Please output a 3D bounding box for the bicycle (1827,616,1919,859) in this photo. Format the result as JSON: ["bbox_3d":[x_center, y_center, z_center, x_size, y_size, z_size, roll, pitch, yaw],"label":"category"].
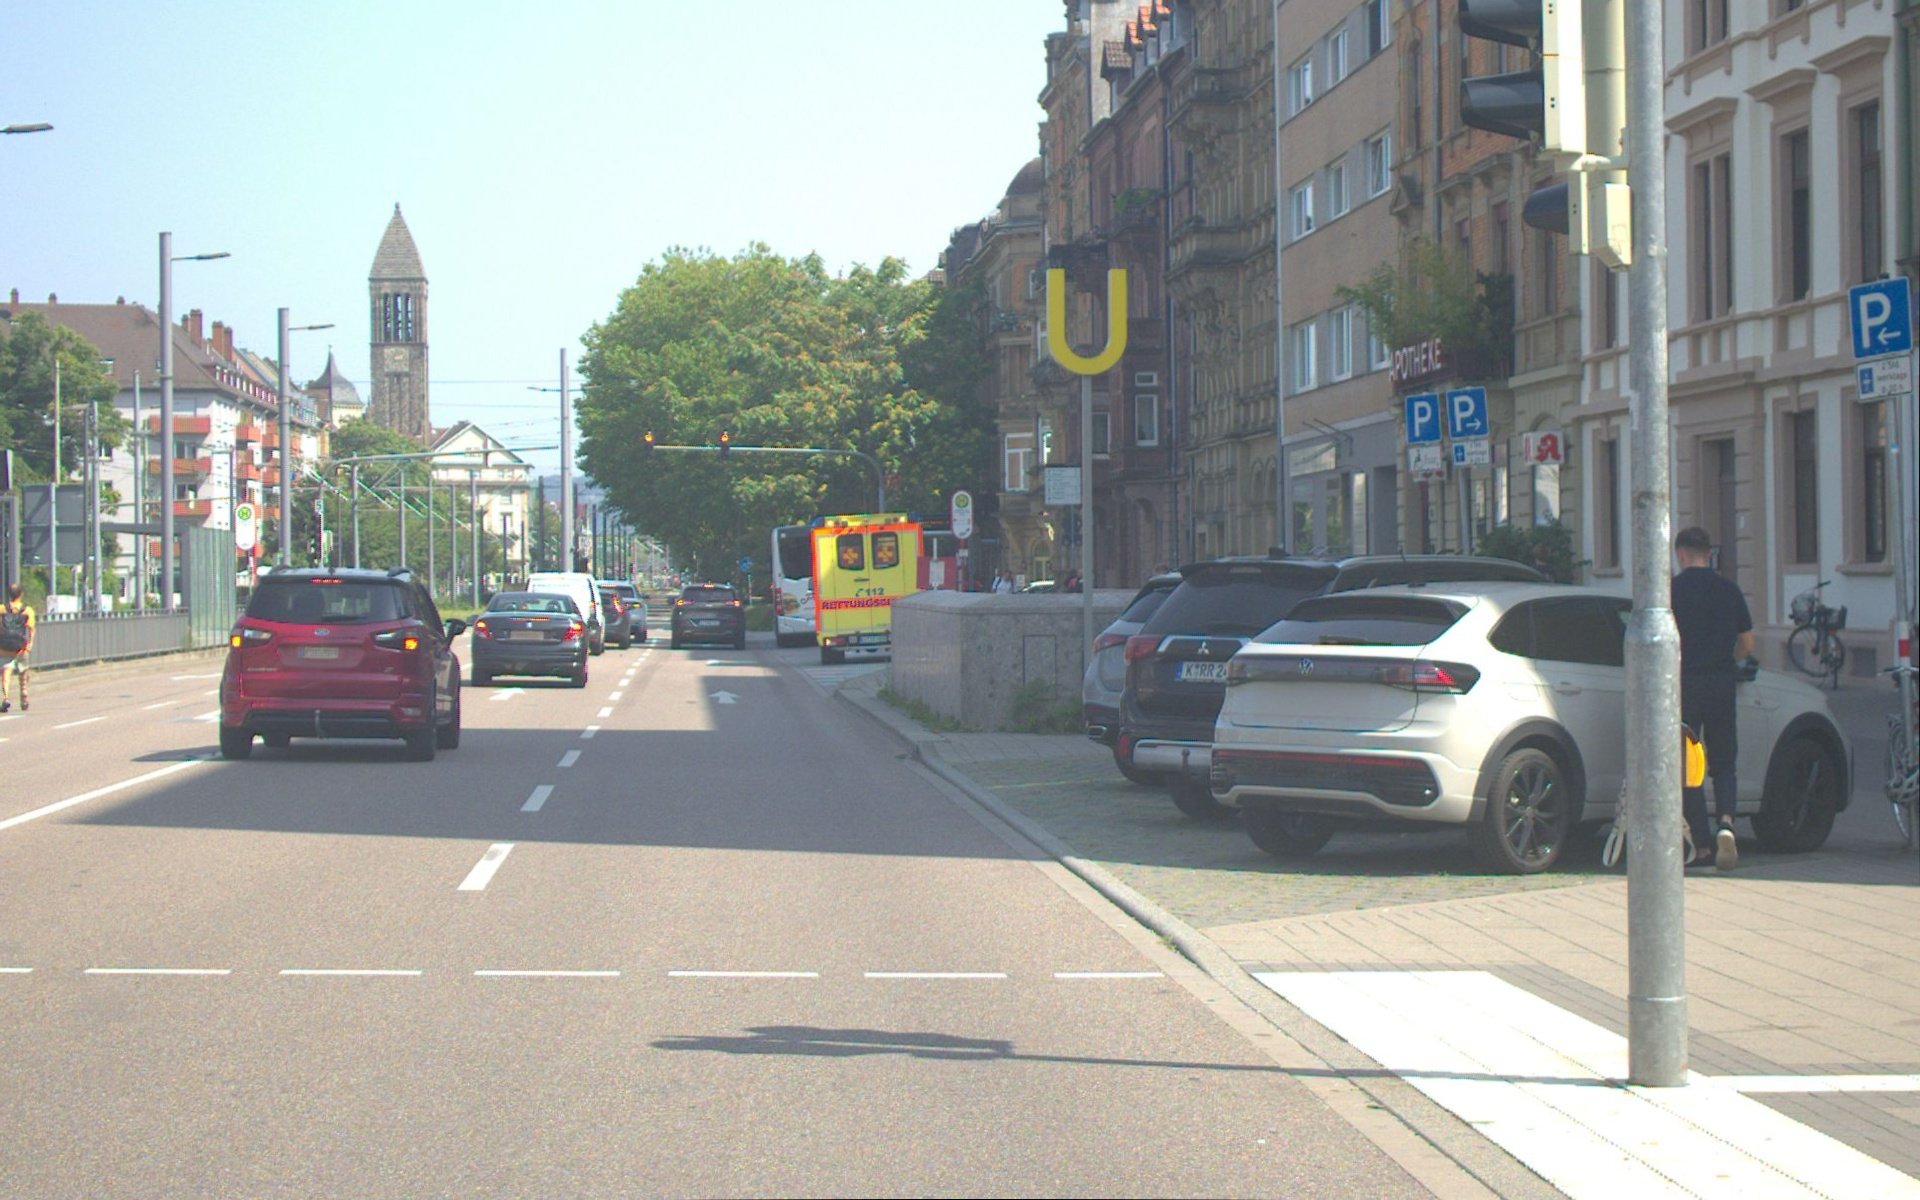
[{"bbox_3d":[5.313,0.735,19.044,0.473,1.292,1.791,-1,-1,-2],"label":"bicycle"}]

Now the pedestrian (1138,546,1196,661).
[{"bbox_3d":[3.209,0.047,53.363,0.850,1.723,0.971,-1,2,2],"label":"pedestrian"}]

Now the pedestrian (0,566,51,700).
[{"bbox_3d":[-12.447,0.433,45.267,0.761,1.746,1.069,0,0,-6],"label":"pedestrian"}]

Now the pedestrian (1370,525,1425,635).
[{"bbox_3d":[7.097,-0.329,55.806,0.684,1.768,1.018,-1,1,-5],"label":"pedestrian"}]

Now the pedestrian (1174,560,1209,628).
[{"bbox_3d":[5.111,-0.132,76.006,0.643,1.488,0.789,-1,0,-5],"label":"pedestrian"}]

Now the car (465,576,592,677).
[{"bbox_3d":[-6.419,0.368,51.461,1.790,1.427,4.001,-1,1,-6],"label":"car"}]

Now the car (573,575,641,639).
[{"bbox_3d":[-9.564,0.210,93.121,1.790,1.692,4.001,0,0,-6],"label":"car"}]

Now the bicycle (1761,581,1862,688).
[{"bbox_3d":[10.059,0.390,40.683,0.480,1.142,2.471,0,2,-2],"label":"bicycle"}]

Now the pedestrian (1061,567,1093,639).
[{"bbox_3d":[2.705,0.073,79.695,0.696,1.661,0.603,0,0,-2],"label":"pedestrian"}]

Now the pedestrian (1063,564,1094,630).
[{"bbox_3d":[3.008,-0.074,87.178,0.696,1.661,1.064,0,0,-2],"label":"pedestrian"}]

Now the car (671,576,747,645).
[{"bbox_3d":[-6.316,0.266,86.100,1.790,1.672,4.001,0,0,-6],"label":"car"}]

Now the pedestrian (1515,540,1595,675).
[{"bbox_3d":[8.318,0.102,48.072,0.840,1.840,0.686,-2,0,-13],"label":"pedestrian"}]

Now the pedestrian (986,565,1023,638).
[{"bbox_3d":[1.025,0.037,79.262,0.697,1.661,0.602,0,0,22],"label":"pedestrian"}]

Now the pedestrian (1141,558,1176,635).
[{"bbox_3d":[4.388,-0.072,75.968,0.643,1.679,0.789,-1,0,-5],"label":"pedestrian"}]

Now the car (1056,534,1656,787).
[{"bbox_3d":[3.047,0.380,25.718,2.042,1.708,4.654,0,1,44],"label":"car"}]

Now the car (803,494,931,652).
[{"bbox_3d":[-1.764,-0.540,66.788,2.299,2.878,5.599,-2,1,-1],"label":"car"}]

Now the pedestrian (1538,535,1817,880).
[{"bbox_3d":[3.663,0.528,17.570,1.034,1.698,0.904,1,0,-31],"label":"pedestrian"}]

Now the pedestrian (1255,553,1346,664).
[{"bbox_3d":[4.872,0.118,49.253,0.850,1.576,0.971,0,0,-38],"label":"pedestrian"}]

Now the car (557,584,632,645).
[{"bbox_3d":[-8.969,0.369,84.578,1.790,1.467,4.001,0,0,-6],"label":"car"}]

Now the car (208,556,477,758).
[{"bbox_3d":[-5.287,0.445,29.874,1.762,1.612,4.083,-1,0,-3],"label":"car"}]

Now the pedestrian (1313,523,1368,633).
[{"bbox_3d":[6.174,-0.365,55.818,0.684,1.768,1.018,-1,1,-5],"label":"pedestrian"}]

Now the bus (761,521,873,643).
[{"bbox_3d":[-3.903,-0.476,91.464,2.533,3.021,12.437,-1,0,-4],"label":"bus"}]

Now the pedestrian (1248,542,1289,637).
[{"bbox_3d":[5.805,-0.196,64.666,0.577,1.744,0.679,-3,0,-4],"label":"pedestrian"}]

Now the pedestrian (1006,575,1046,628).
[{"bbox_3d":[2.266,0.049,118.098,1.249,1.746,1.526,0,2,-4],"label":"pedestrian"}]

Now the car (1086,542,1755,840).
[{"bbox_3d":[3.011,0.494,21.849,1.985,1.682,4.381,0,1,44],"label":"car"}]

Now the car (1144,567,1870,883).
[{"bbox_3d":[3.018,0.628,18.619,3.774,1.495,1.807,1,1,-40],"label":"car"}]

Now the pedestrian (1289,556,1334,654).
[{"bbox_3d":[6.607,0.093,64.628,0.599,1.789,0.880,-3,0,-4],"label":"pedestrian"}]

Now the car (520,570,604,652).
[{"bbox_3d":[-8.865,0.250,76.783,1.790,1.774,4.001,0,0,-6],"label":"car"}]

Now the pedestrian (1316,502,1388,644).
[{"bbox_3d":[4.745,-0.327,41.619,0.670,1.679,0.943,-1,0,-4],"label":"pedestrian"}]
